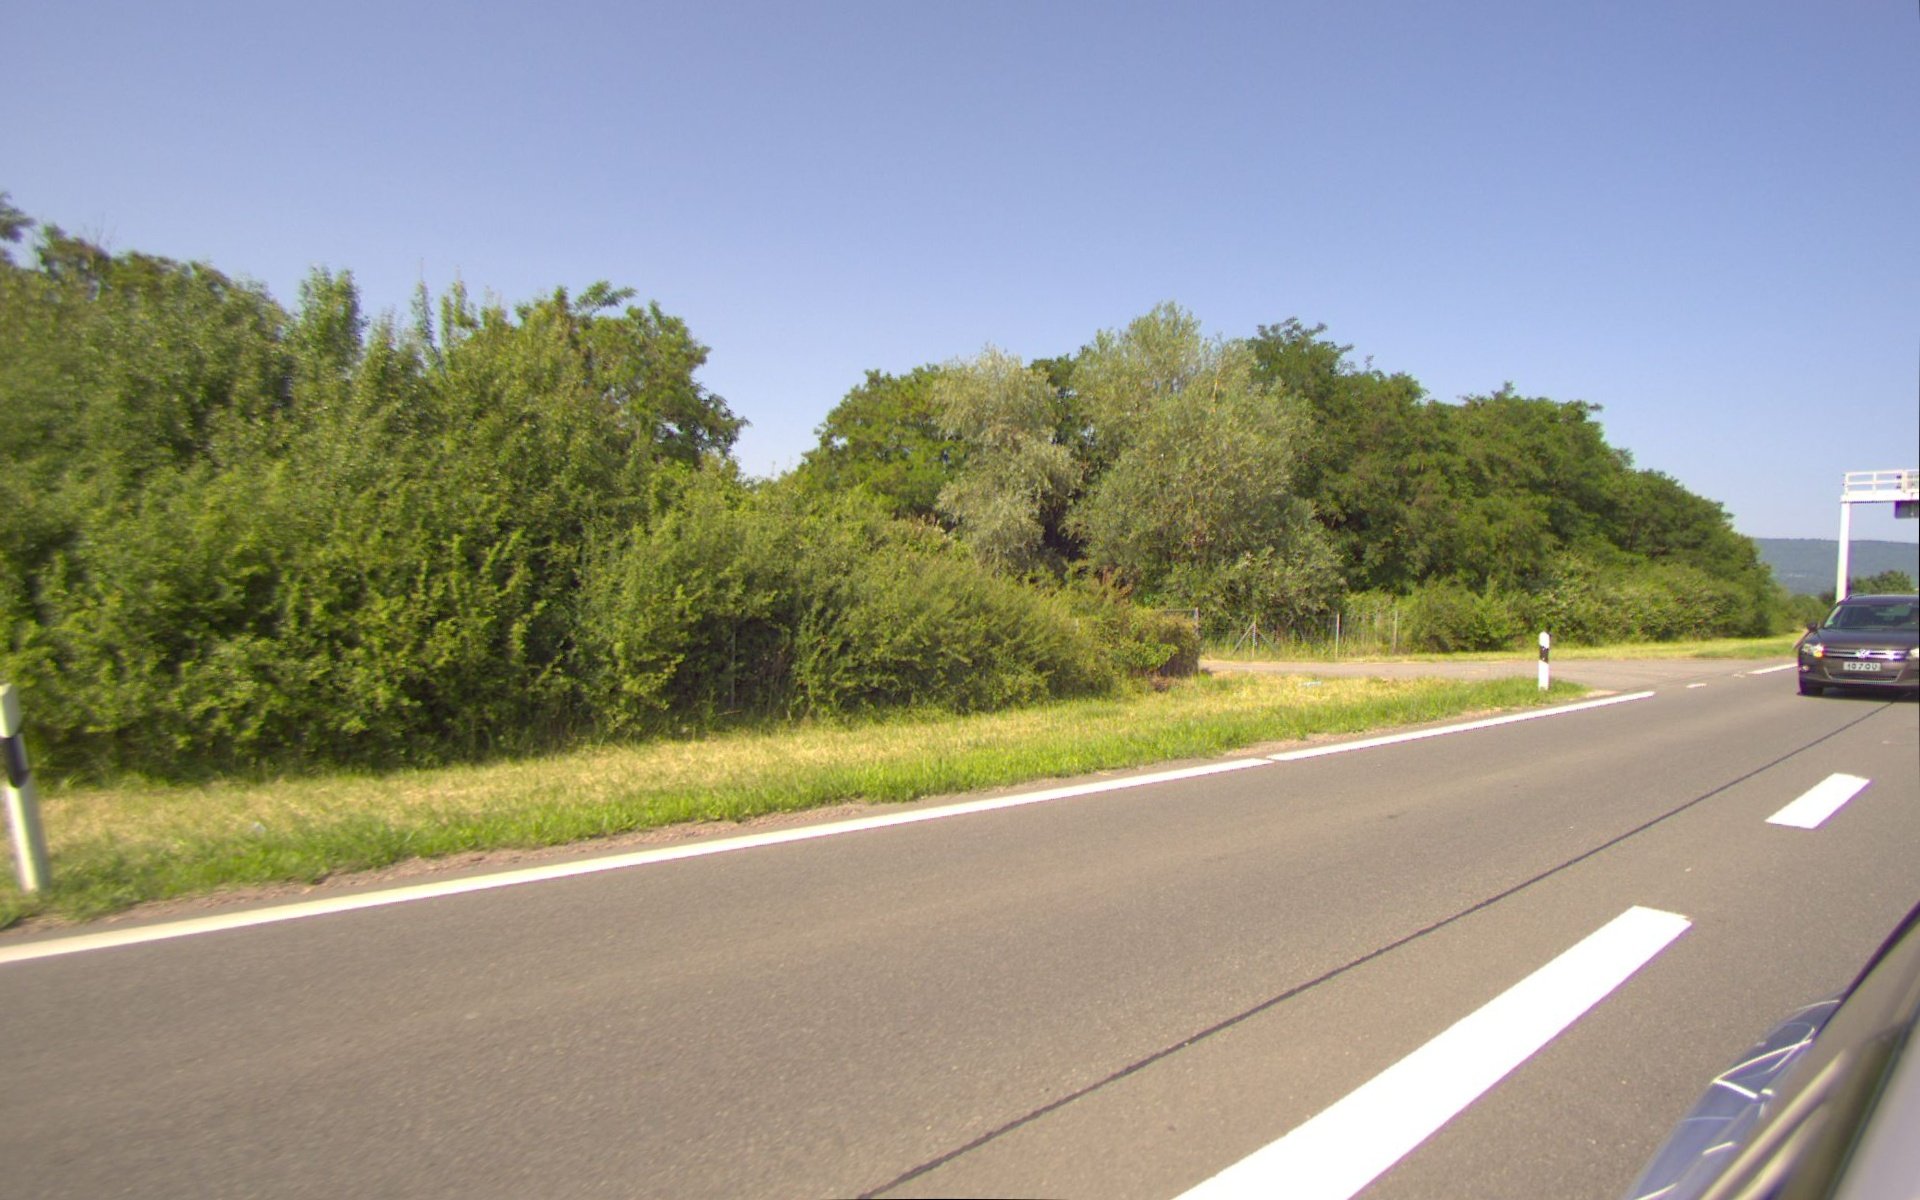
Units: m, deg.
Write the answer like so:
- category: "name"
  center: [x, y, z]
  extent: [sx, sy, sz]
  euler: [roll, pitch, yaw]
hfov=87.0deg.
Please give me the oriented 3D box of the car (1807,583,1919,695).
- category: "car"
  center: [15.652, 0.610, 16.733]
  extent: [4.073, 1.667, 1.789]
  euler: [1, 0, -39]
